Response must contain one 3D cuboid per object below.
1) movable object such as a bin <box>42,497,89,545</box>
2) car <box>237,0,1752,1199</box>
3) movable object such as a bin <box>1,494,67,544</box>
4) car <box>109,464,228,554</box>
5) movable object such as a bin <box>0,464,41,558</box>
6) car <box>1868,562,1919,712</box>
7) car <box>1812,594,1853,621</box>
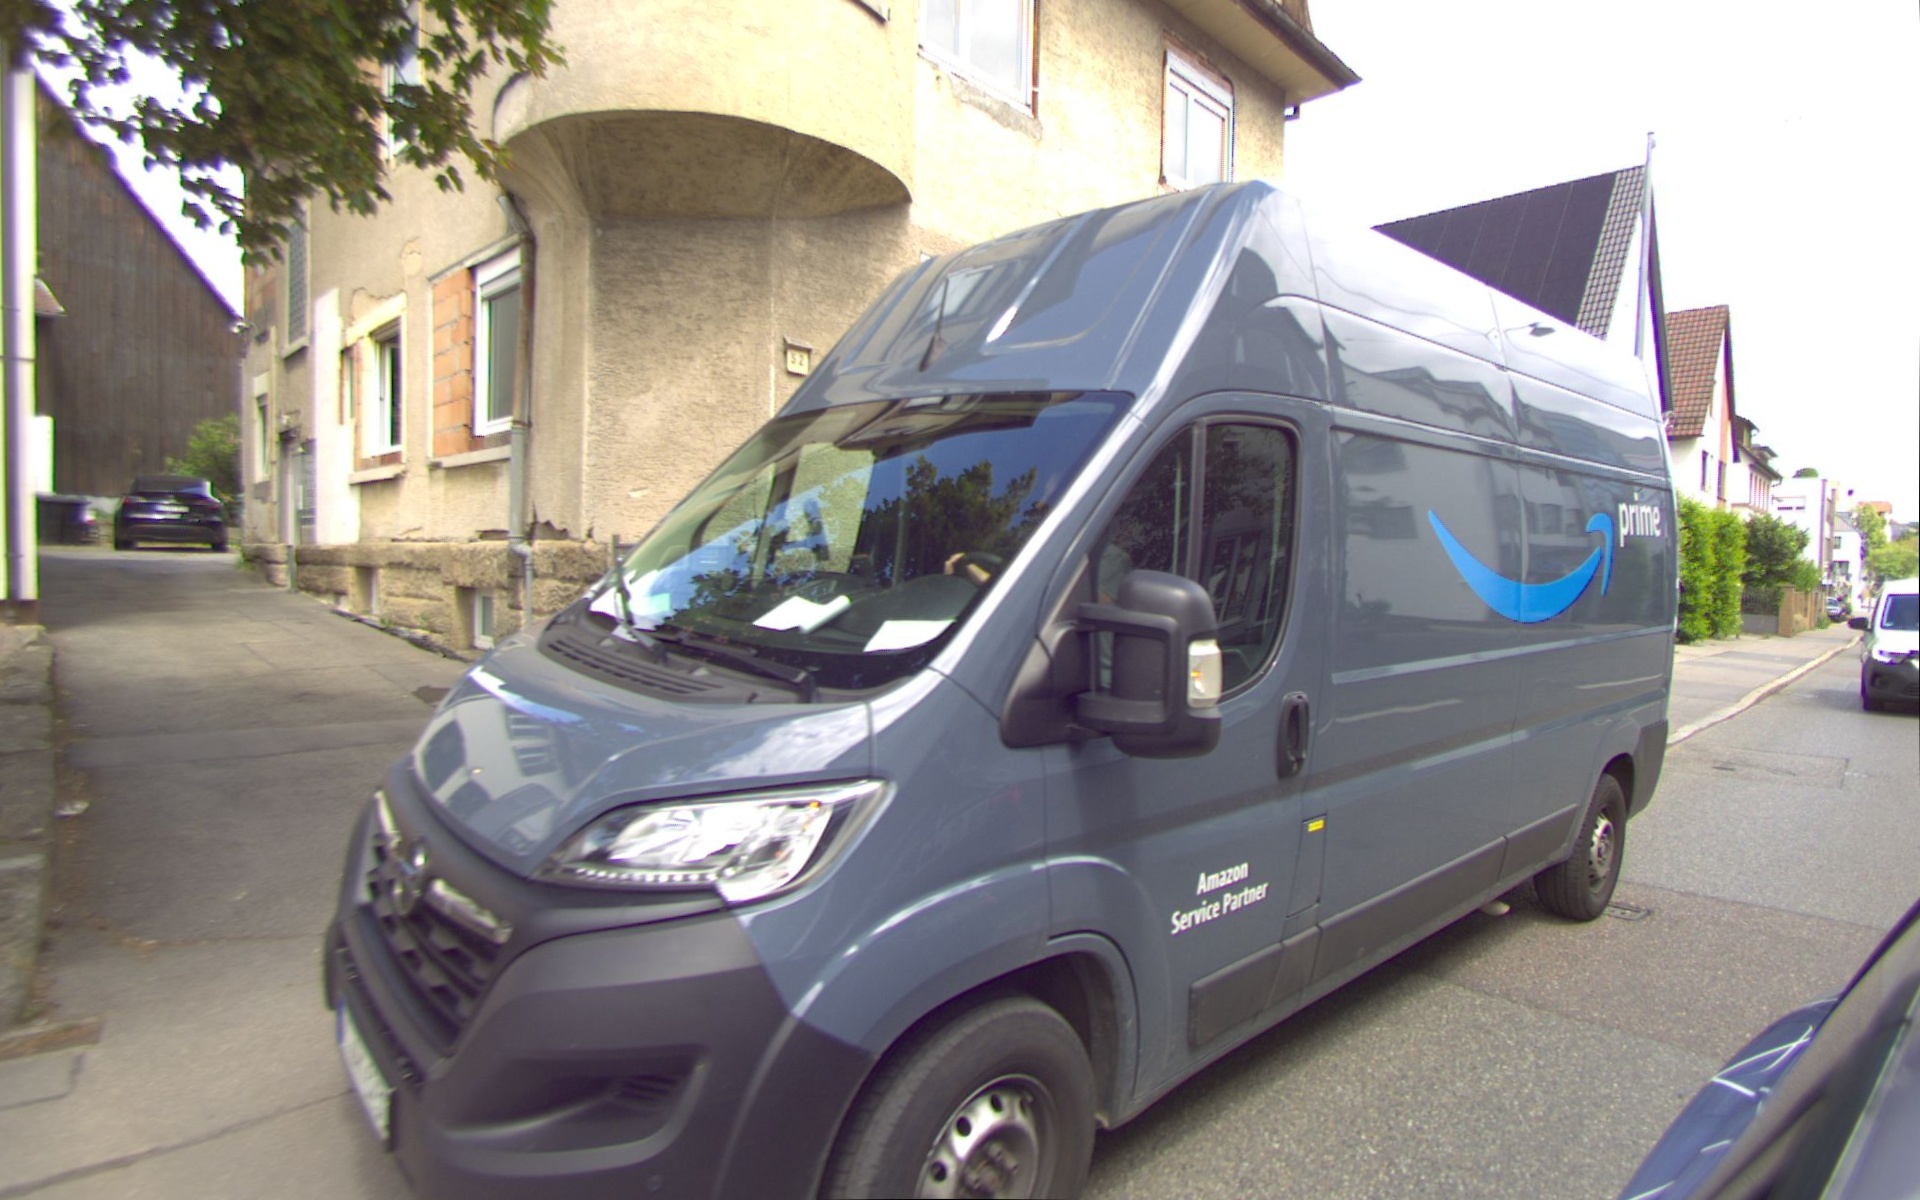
[{"bbox_3d":[-19.335,-1.701,21.878,0.607,1.006,0.569,1,1,22],"label":"movable object such as a bin"},{"bbox_3d":[1.023,-0.004,3.996,6.140,2.805,2.152,0,1,-41],"label":"car"},{"bbox_3d":[-19.405,-1.685,21.213,0.794,1.006,0.757,1,1,22],"label":"movable object such as a bin"},{"bbox_3d":[-17.093,-1.966,21.782,1.861,1.703,3.997,0,5,-40],"label":"car"},{"bbox_3d":[-16.990,-1.598,17.733,1.217,1.572,2.219,0,5,-40],"label":"movable object such as a bin"},{"bbox_3d":[13.799,0.460,13.965,1.865,1.838,4.930,1,1,42],"label":"car"},{"bbox_3d":[50.345,0.409,58.357,1.651,1.438,3.938,3,2,42],"label":"car"}]
